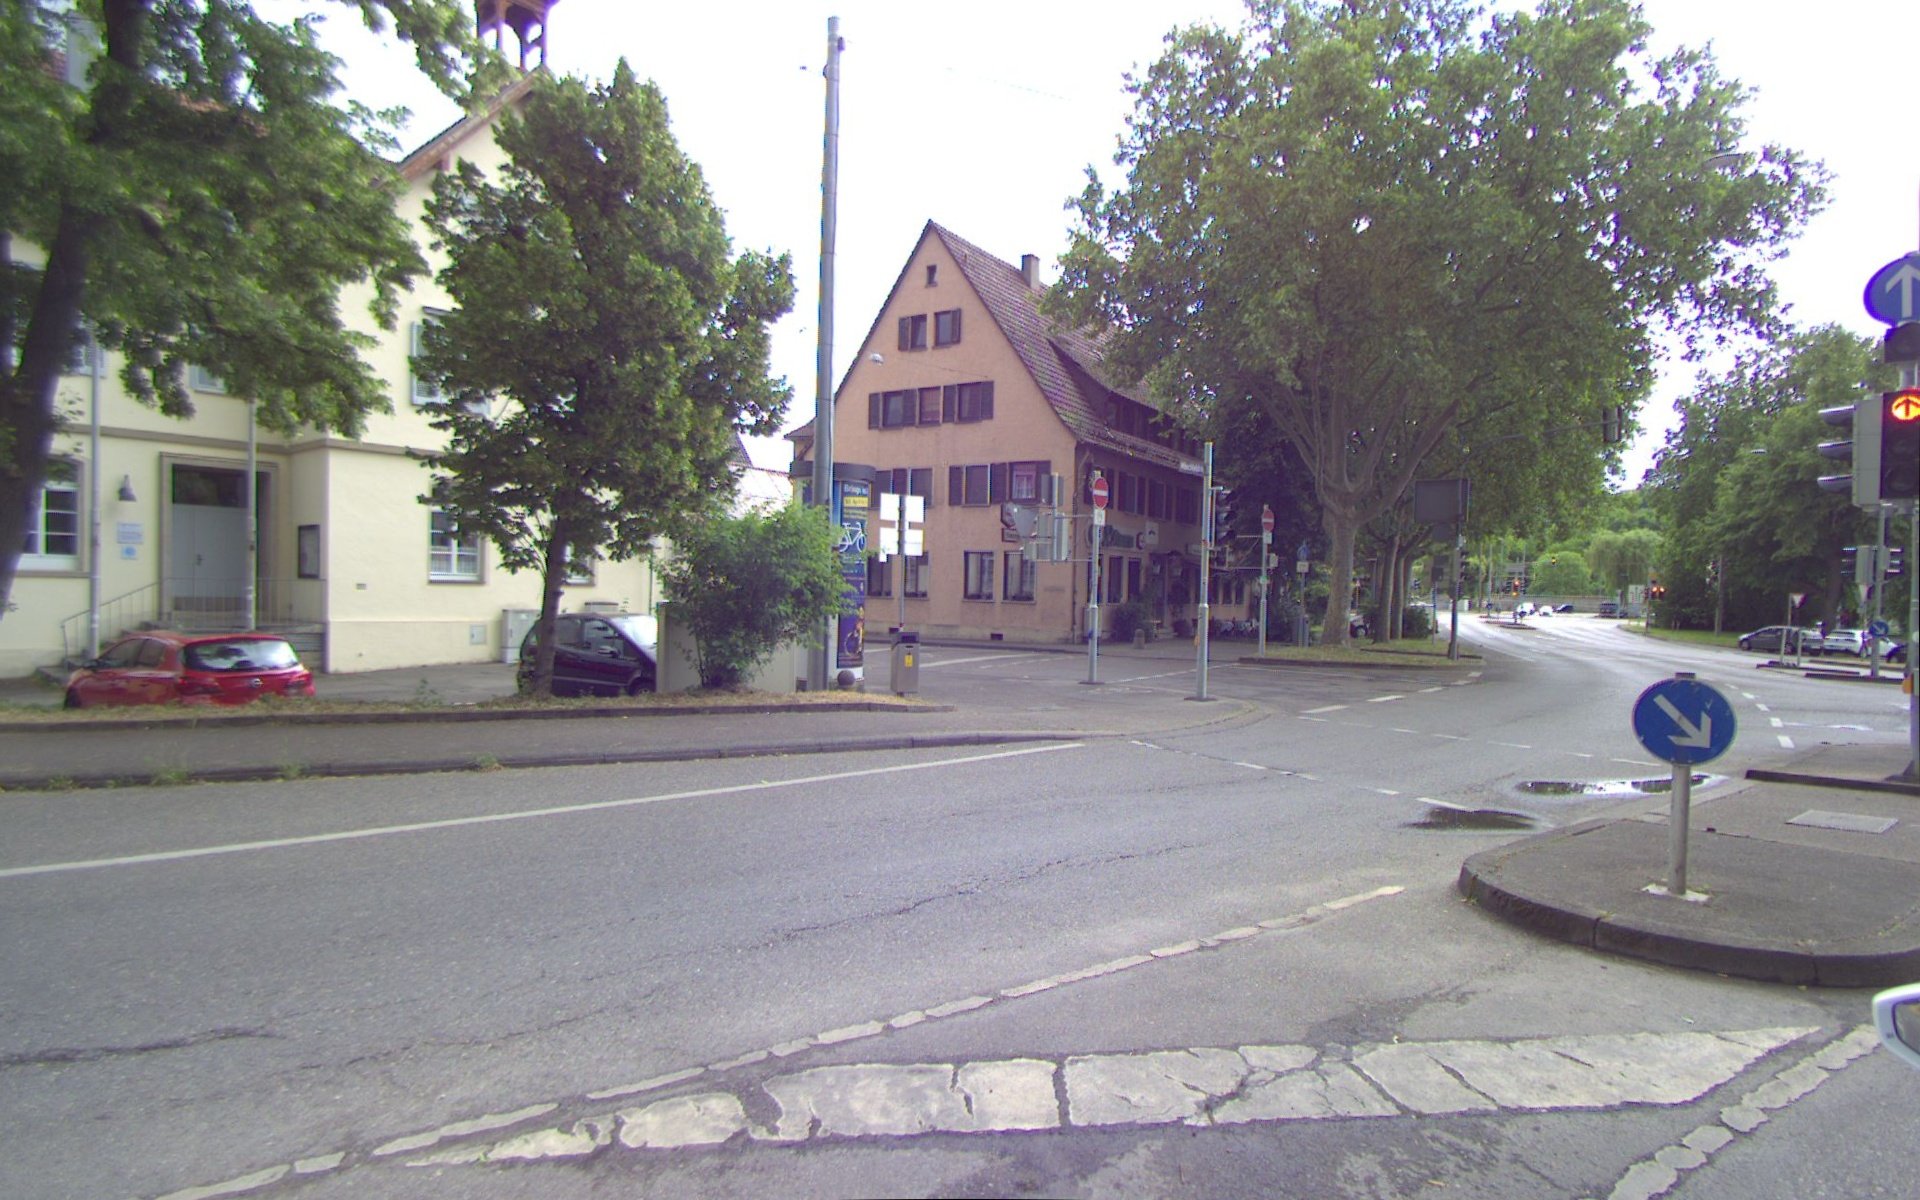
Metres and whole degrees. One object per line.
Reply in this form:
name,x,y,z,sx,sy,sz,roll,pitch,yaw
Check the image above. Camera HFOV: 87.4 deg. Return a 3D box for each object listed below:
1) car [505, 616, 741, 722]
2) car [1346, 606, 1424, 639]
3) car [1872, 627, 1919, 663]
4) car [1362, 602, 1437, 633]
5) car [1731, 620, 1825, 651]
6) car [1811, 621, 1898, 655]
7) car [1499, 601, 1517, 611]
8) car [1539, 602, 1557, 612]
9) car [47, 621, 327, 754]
car,-5.528,1.055,16.450,3.507,1.459,1.644,2,0,26
car,24.007,1.249,56.711,3.924,1.706,1.998,1,0,25
car,39.454,1.858,40.766,1.746,1.370,3.326,2,0,-2
car,25.739,1.005,58.787,3.924,1.706,1.998,1,0,25
car,43.828,1.874,53.908,1.592,1.485,3.778,2,0,-11
car,47.471,2.035,53.327,3.696,1.662,1.859,2,0,-19
car,85.320,0.913,156.477,1.553,1.506,3.337,3,0,12
car,90.994,1.155,155.411,1.469,1.436,3.028,3,0,11
car,-10.272,1.051,13.313,3.653,1.401,1.659,2,0,30
